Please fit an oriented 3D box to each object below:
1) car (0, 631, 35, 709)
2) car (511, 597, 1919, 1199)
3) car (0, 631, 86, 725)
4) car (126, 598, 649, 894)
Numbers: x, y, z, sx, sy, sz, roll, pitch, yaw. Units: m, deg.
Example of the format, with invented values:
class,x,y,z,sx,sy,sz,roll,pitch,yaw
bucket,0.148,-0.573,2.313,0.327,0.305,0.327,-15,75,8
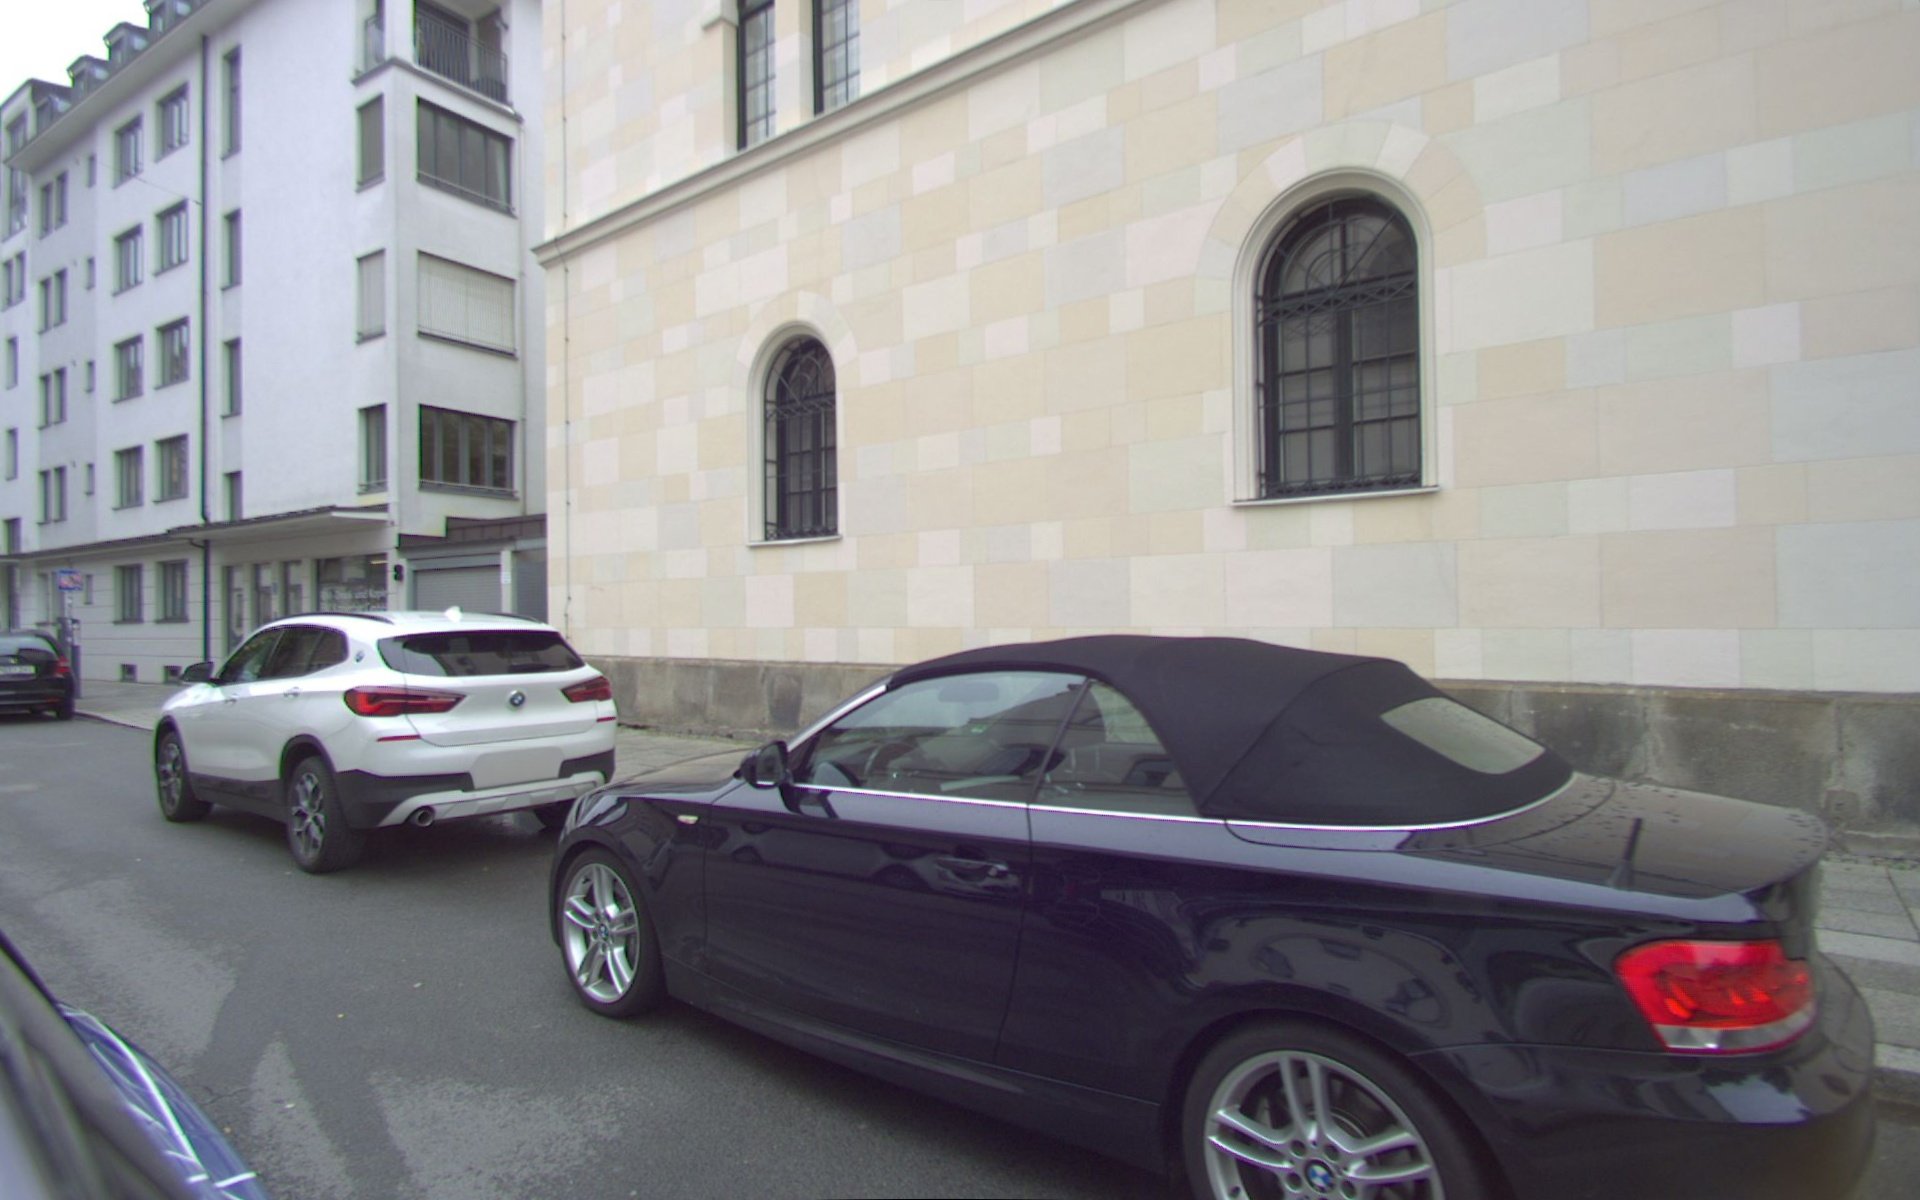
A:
class,x,y,z,sx,sy,sz,roll,pitch,yaw
car,-20.023,1.401,20.046,4.007,1.464,1.735,-3,-3,36
car,0.410,0.751,3.315,4.206,1.403,1.682,-1,-2,39
car,-16.365,1.301,17.044,4.009,1.464,1.734,-3,-4,38
car,-4.268,0.820,7.299,4.205,1.546,1.761,-1,-2,37
